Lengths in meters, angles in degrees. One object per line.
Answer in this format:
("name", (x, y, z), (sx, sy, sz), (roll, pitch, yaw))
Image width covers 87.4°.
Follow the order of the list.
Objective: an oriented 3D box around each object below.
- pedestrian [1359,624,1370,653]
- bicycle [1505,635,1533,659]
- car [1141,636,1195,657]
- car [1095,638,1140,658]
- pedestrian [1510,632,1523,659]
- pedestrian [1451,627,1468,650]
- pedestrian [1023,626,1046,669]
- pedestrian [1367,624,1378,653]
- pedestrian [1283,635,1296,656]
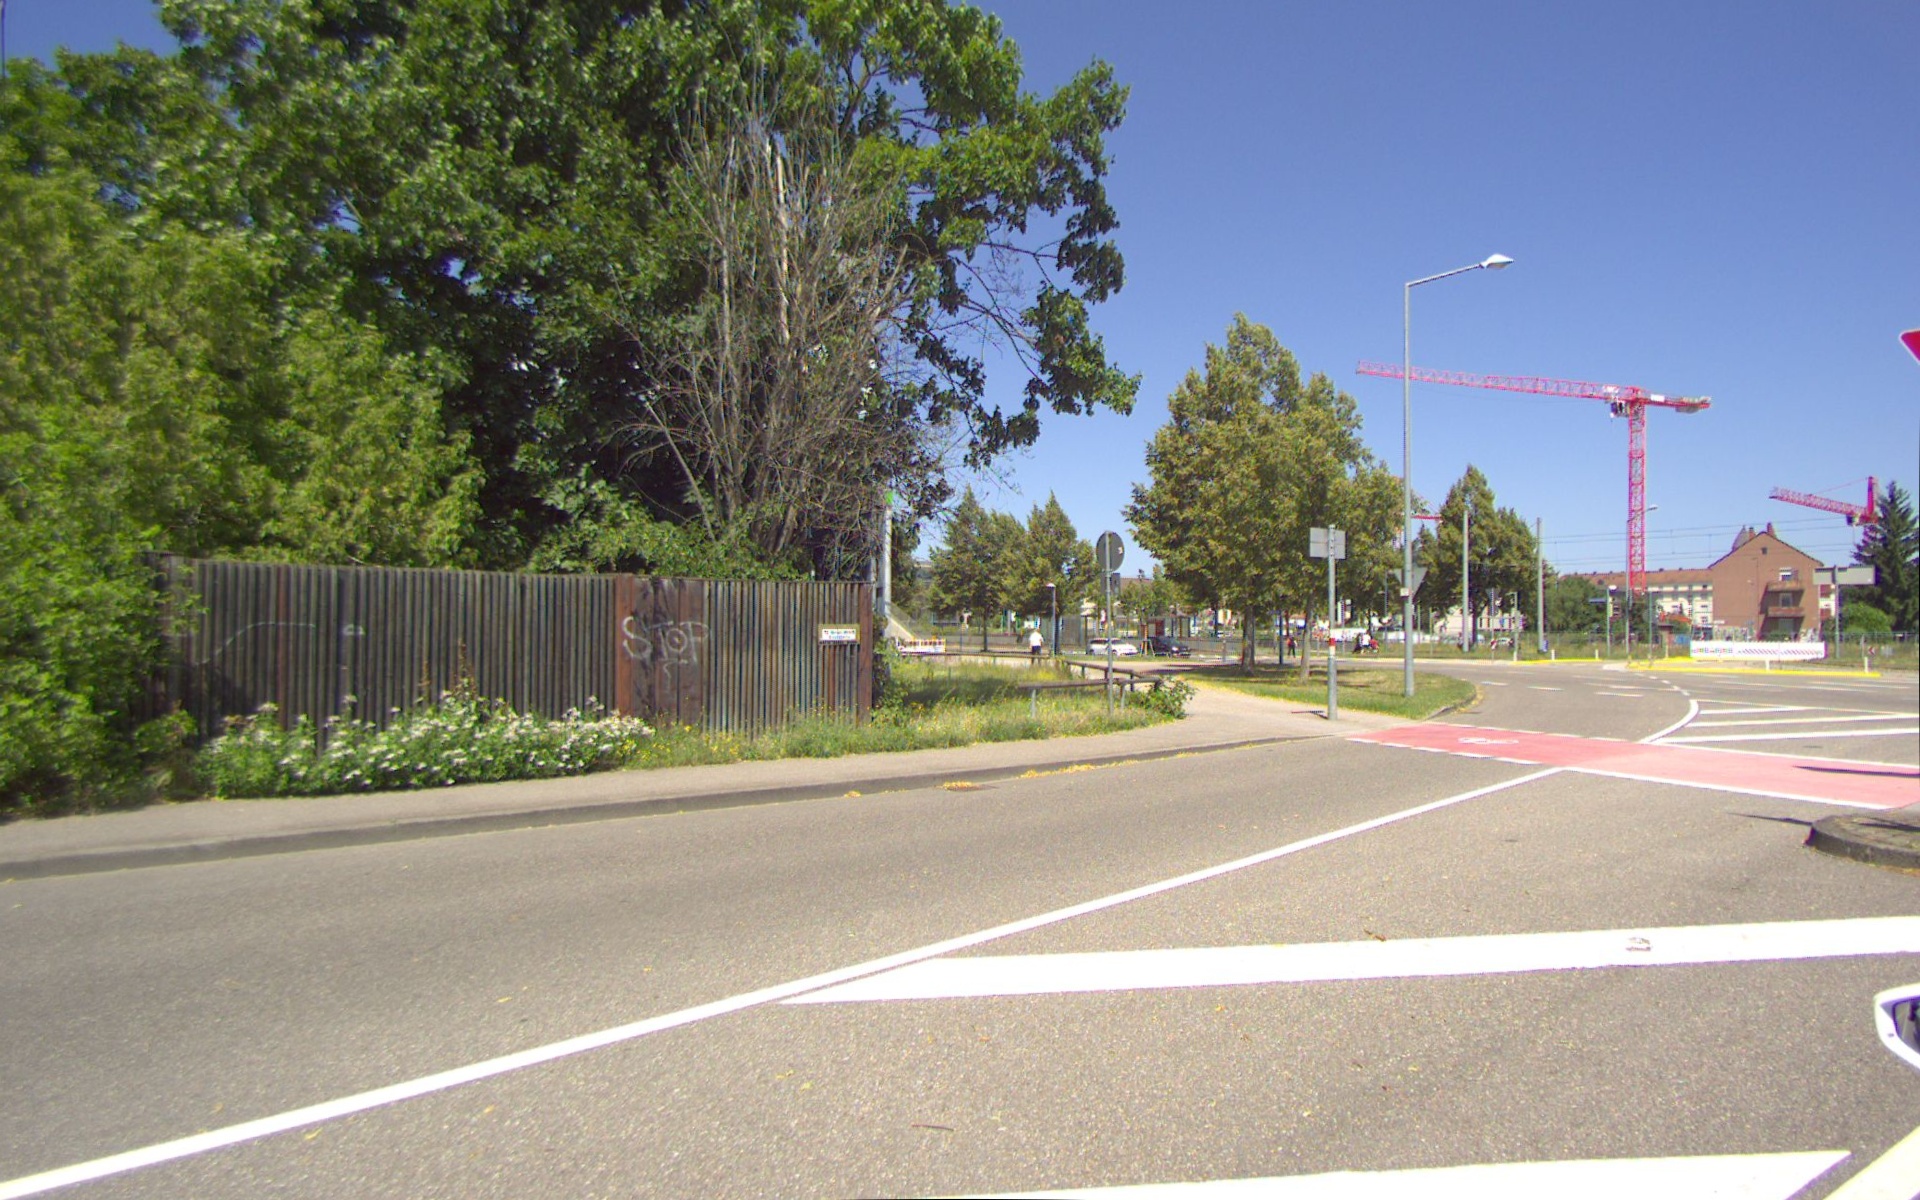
("pedestrian", (27.491, 2.613, 68.268), (0.617, 1.960, 0.646), (-1, -2, 26))
("bicycle", (41.131, 3.459, 73.880), (2.052, 1.707, 0.558), (2, 0, -18))
("car", (13.833, 3.100, 66.922), (1.719, 1.228, 3.541), (2, -1, -28))
("car", (11.238, 3.415, 71.853), (1.557, 1.241, 3.299), (2, -1, -28))
("pedestrian", (42.040, 3.442, 75.824), (0.588, 2.040, 0.598), (2, 0, -30))
("pedestrian", (37.608, 2.915, 75.604), (0.749, 1.661, 0.778), (2, 0, -18))
("pedestrian", (3.380, 2.155, 45.680), (0.821, 1.894, 0.609), (2, 0, -16))
("pedestrian", (28.196, 2.602, 68.691), (0.617, 1.960, 0.646), (-1, -2, 26))
("pedestrian", (21.731, 3.002, 66.268), (0.590, 1.425, 0.540), (1, -2, -27))
